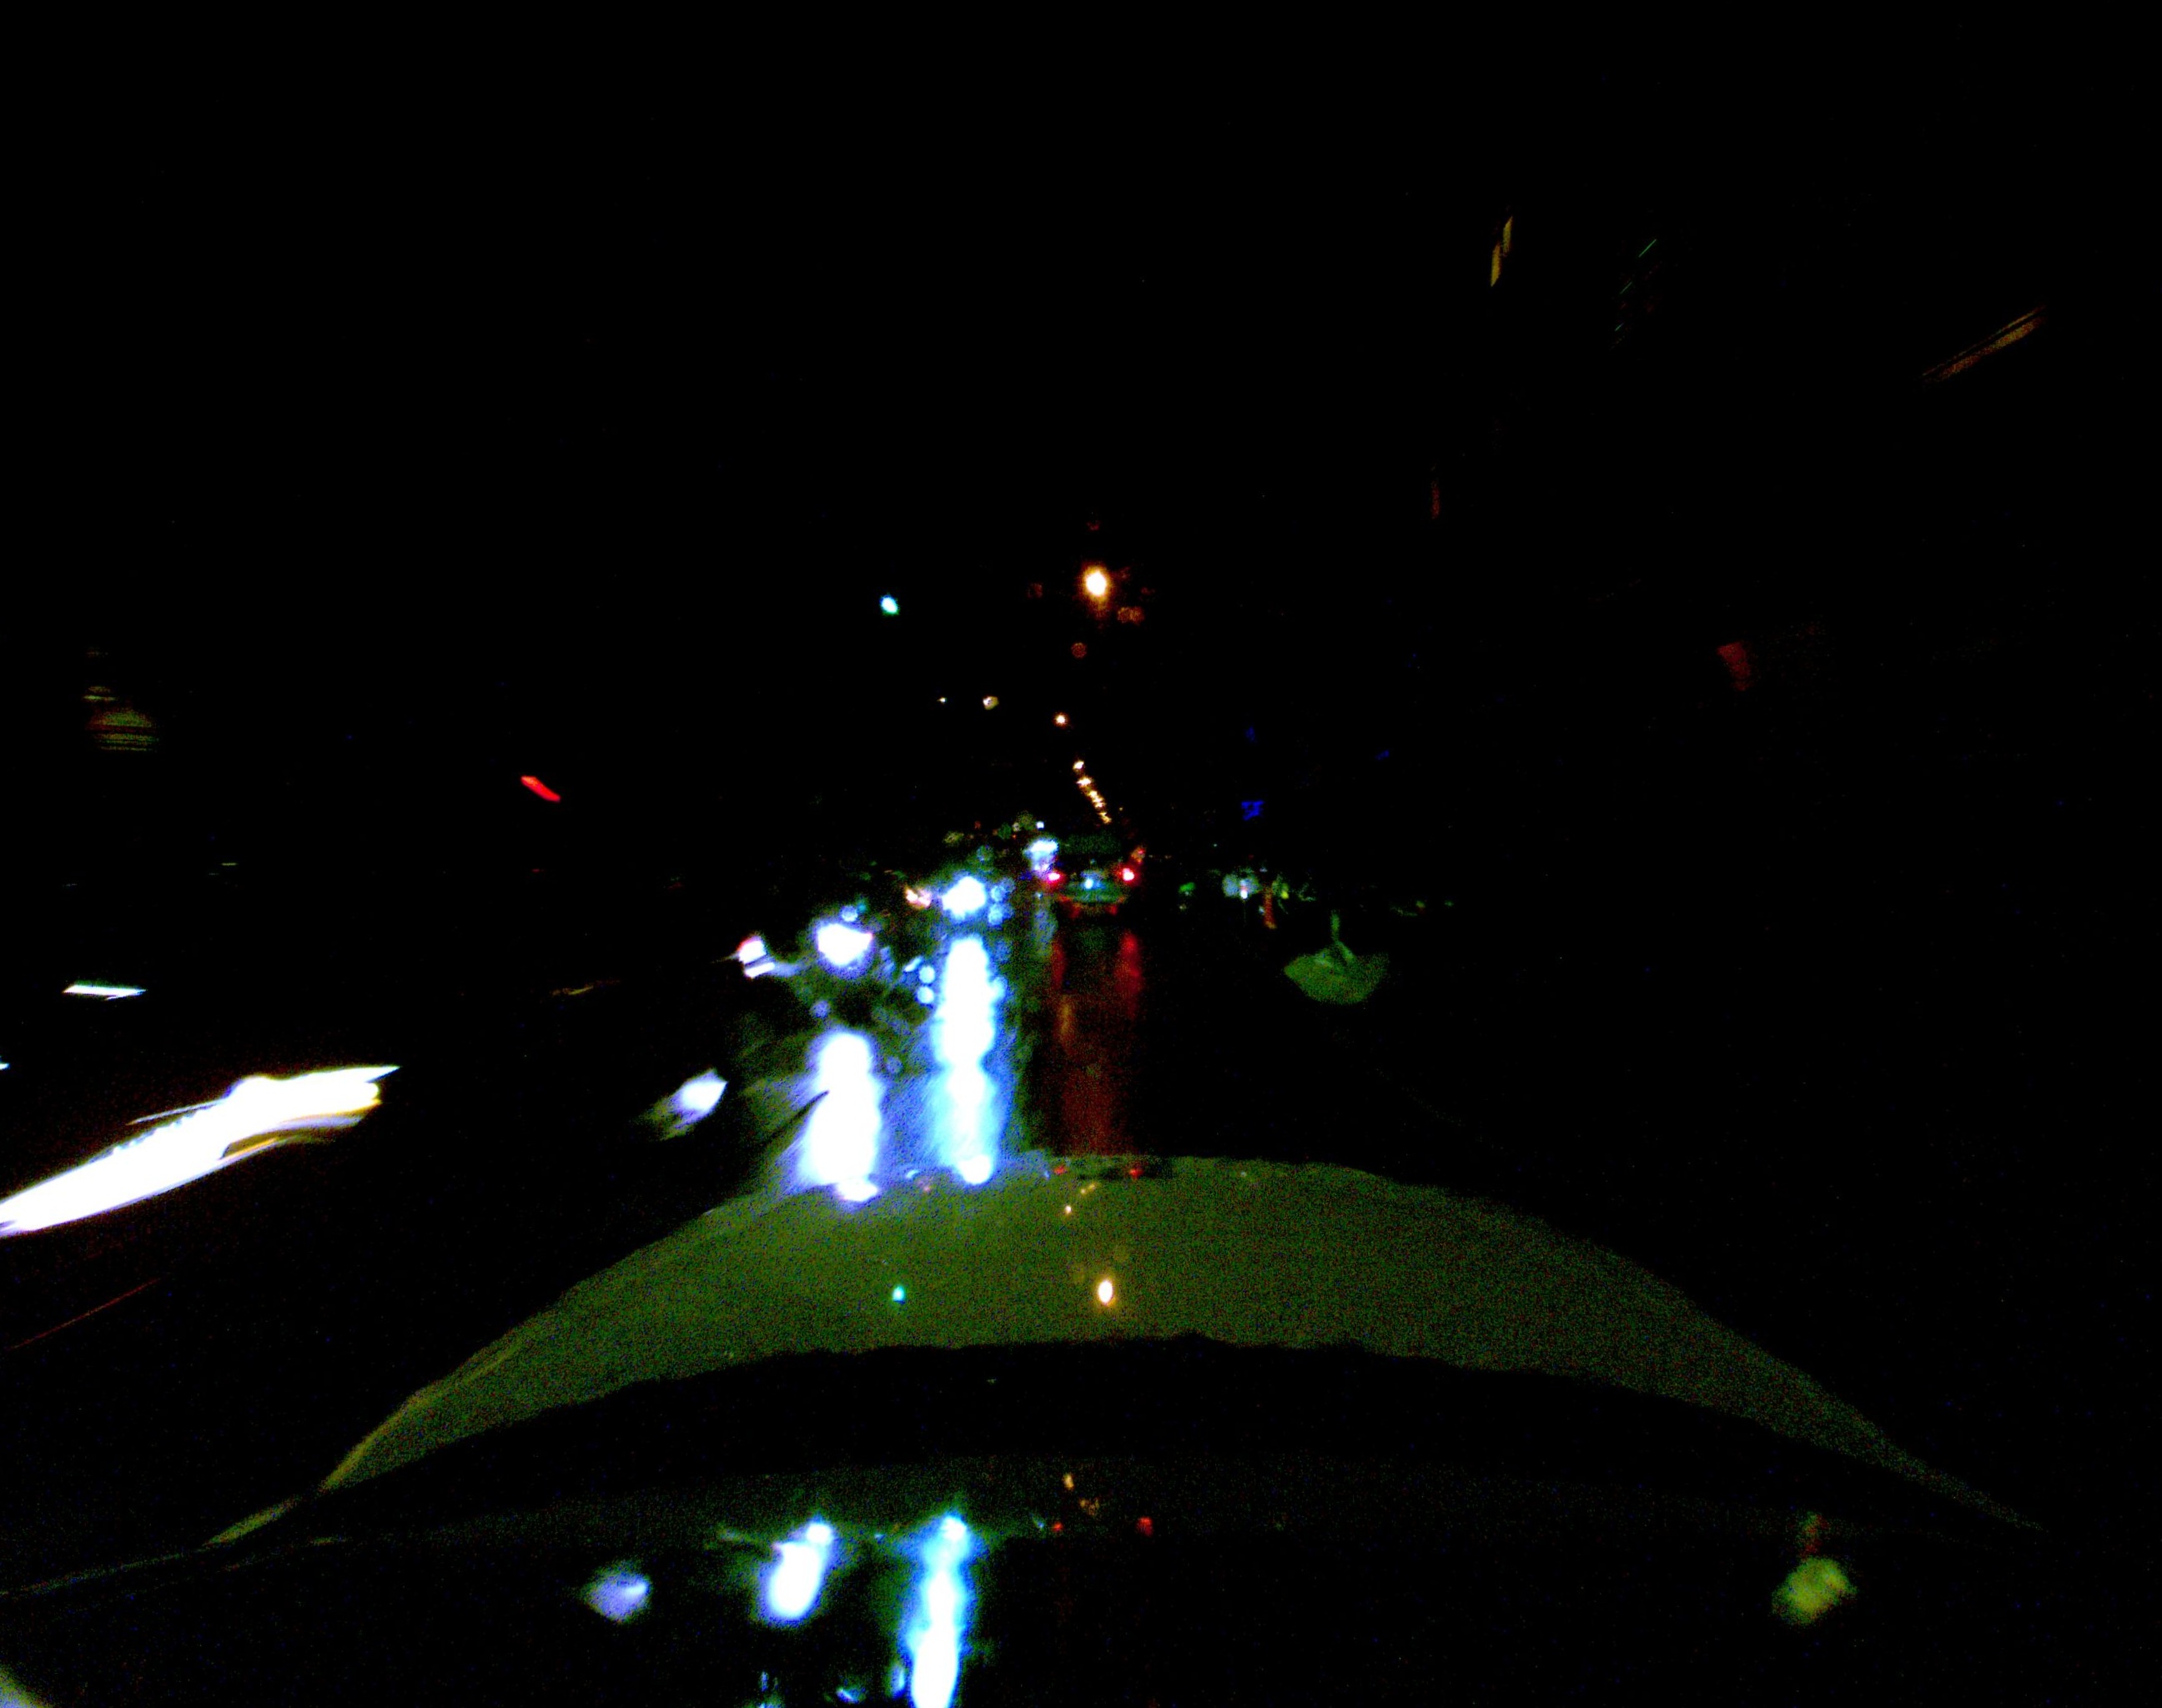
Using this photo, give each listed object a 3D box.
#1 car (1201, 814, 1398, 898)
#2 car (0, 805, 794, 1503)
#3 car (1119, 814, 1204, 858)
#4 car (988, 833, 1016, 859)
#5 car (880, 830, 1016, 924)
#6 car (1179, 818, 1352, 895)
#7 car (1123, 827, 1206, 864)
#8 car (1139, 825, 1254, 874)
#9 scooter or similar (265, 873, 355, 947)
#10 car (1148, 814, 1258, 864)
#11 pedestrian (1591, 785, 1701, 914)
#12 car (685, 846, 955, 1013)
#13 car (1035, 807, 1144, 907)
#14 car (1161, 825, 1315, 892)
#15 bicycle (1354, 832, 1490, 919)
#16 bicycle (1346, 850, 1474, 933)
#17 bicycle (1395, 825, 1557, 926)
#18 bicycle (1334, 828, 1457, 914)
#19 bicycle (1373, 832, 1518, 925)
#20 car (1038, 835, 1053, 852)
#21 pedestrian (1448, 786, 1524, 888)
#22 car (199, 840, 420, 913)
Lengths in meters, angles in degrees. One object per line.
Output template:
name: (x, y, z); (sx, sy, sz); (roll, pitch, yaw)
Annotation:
car: (4.788, -0.020, 17.606); (4.205, 1.457, 1.837); (-5, 2, -36)
car: (-2.987, 0.650, 3.834); (1.662, 1.562, 4.010); (-2, 1, 2)
car: (4.998, -1.128, 50.425); (5.033, 2.391, 2.116); (-4, 2, -36)
car: (-6.279, -0.666, 64.336); (1.726, 1.971, 3.712); (-2, 1, -12)
car: (-2.465, 0.341, 16.350); (1.781, 1.554, 4.856); (-2, 1, 1)
car: (4.682, 0.003, 20.436); (4.205, 1.576, 1.861); (-5, 2, -36)
car: (4.391, -0.475, 42.513); (4.205, 1.645, 1.750); (-5, 2, -36)
car: (4.615, -0.220, 32.575); (4.185, 1.645, 1.759); (-4, 2, -19)
scooter or similar: (-13.694, 0.982, 14.490); (1.081, 1.240, 0.283); (-2, 1, -26)
car: (4.623, -0.586, 30.629); (4.208, 1.645, 1.642); (-5, 2, -40)
pedestrian: (7.508, -0.064, 10.863); (0.778, 1.617, 1.001); (-2, 1, 2)
car: (-2.679, 0.660, 9.418); (1.662, 1.420, 4.099); (-2, 1, 1)
car: (0.250, 0.009, 18.768); (2.160, 1.971, 4.304); (-2, 1, 2)
car: (4.508, 0.081, 23.217); (4.201, 1.590, 1.714); (-4, 2, -32)
bicycle: (5.464, 0.331, 13.083); (1.892, 1.251, 0.595); (-4, 0, -3)
bicycle: (5.539, 0.620, 13.756); (1.892, 1.251, 0.595); (-4, 0, -3)
bicycle: (5.519, 0.288, 11.437); (1.892, 1.251, 0.710); (-4, 0, -3)
bicycle: (5.523, 0.288, 14.343); (1.892, 1.360, 0.595); (-4, 0, -3)
bicycle: (5.498, 0.353, 12.329); (1.892, 1.251, 0.595); (-4, 0, -3)
car: (-4.381, -1.308, 100.156); (1.720, 1.971, 4.219); (-1, 1, -1)
pedestrian: (7.813, -0.333, 15.746); (0.953, 1.881, 1.001); (-2, 1, 2)
car: (-22.052, 0.572, 23.496); (1.682, 1.700, 4.219); (-1, 3, 27)
